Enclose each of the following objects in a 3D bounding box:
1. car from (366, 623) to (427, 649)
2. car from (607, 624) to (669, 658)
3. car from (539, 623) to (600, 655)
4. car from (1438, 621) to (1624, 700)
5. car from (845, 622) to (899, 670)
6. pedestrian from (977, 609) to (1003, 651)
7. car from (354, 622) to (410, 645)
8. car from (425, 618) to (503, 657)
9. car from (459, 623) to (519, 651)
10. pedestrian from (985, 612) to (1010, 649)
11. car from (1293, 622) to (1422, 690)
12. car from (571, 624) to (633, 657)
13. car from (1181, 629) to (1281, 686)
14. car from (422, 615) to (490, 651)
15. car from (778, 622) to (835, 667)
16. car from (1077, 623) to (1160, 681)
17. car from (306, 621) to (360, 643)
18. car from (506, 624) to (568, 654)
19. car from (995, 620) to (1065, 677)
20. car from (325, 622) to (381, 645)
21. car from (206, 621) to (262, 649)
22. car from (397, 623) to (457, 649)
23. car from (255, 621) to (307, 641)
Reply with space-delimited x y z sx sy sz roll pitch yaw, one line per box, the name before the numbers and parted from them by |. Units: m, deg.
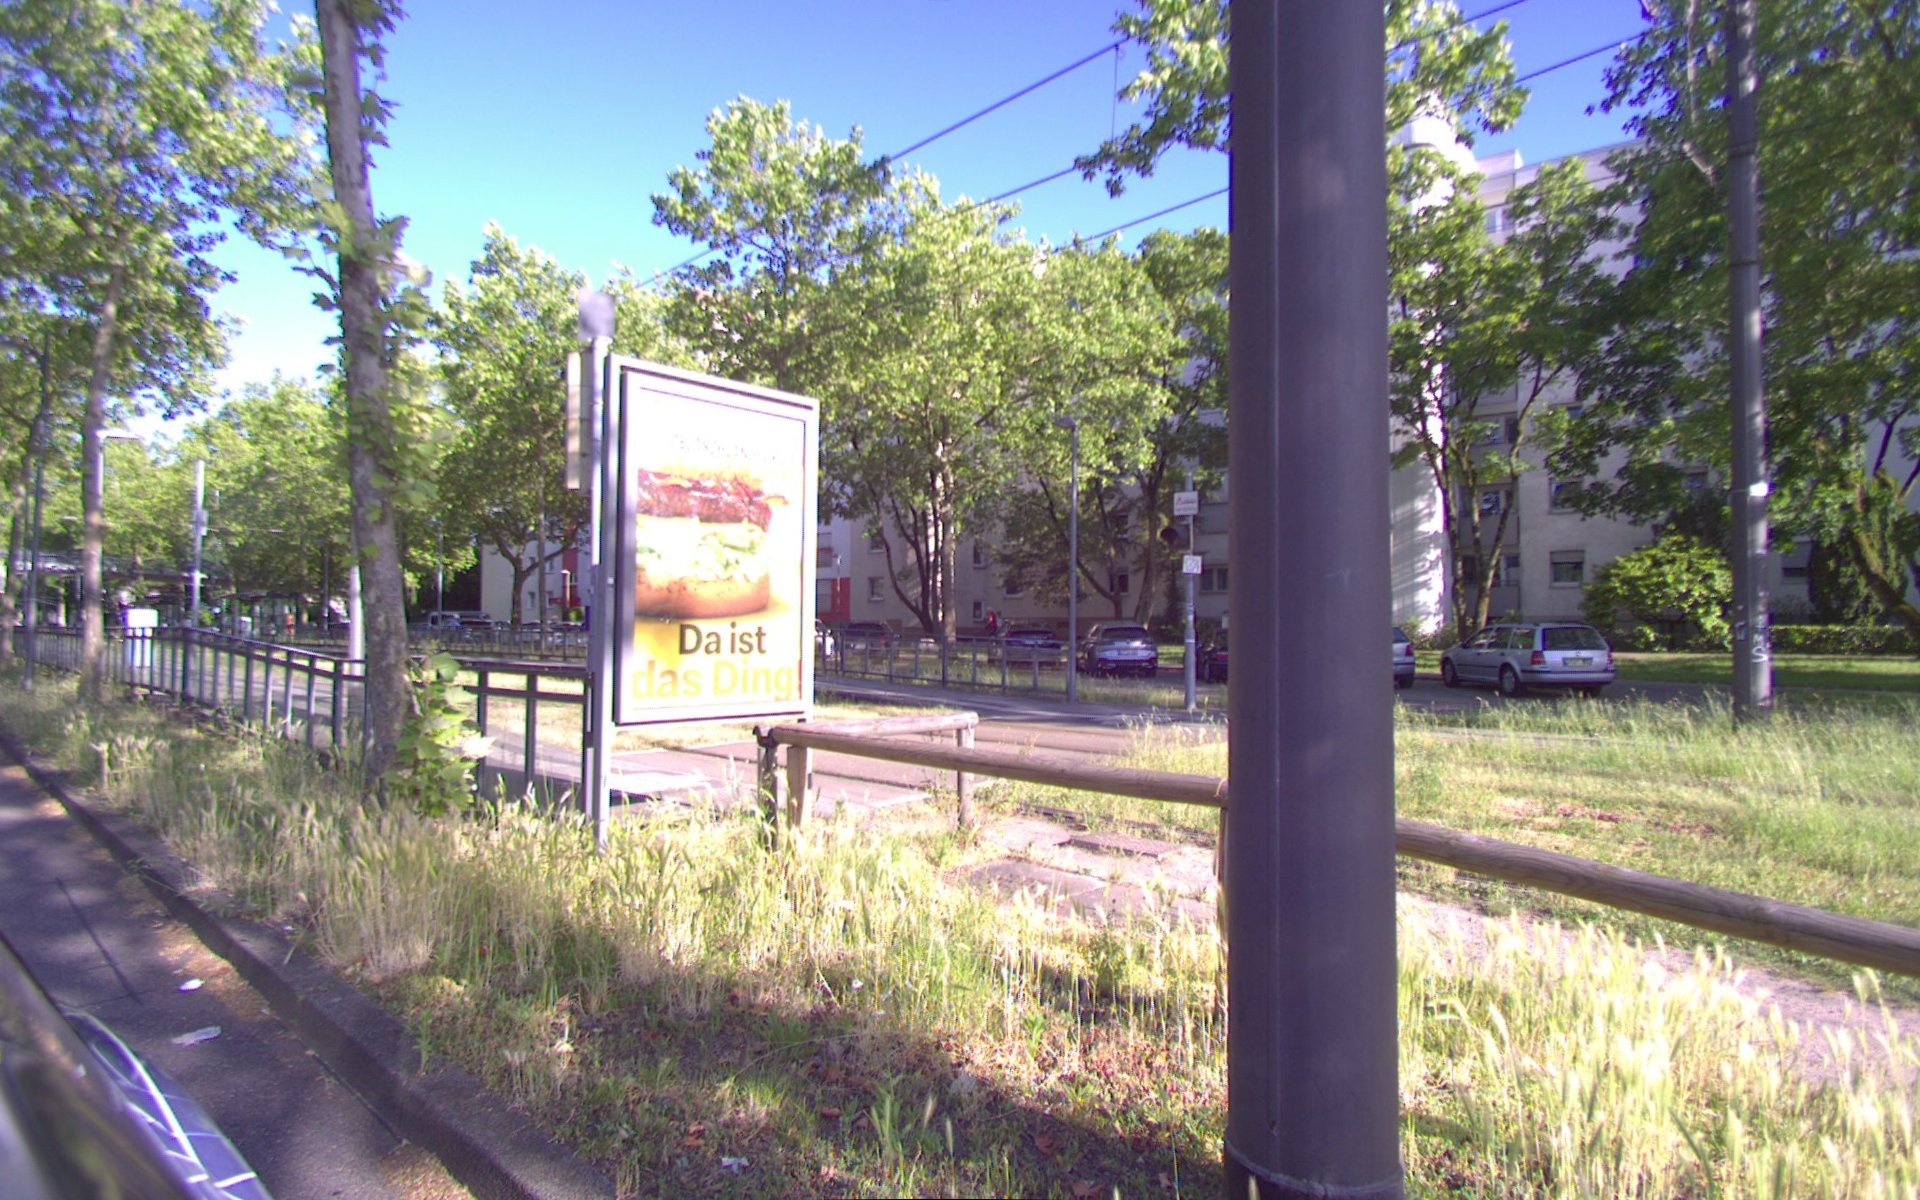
car | -33.688 2.117 60.606 1.633 1.452 3.805 -1 -1 -2
car | -14.056 1.768 44.341 1.633 1.366 3.805 -1 -1 -2
car | -19.039 1.900 49.544 1.633 1.452 3.805 -1 -1 -2
car | 11.481 1.164 20.670 1.559 1.413 3.906 -1 -1 0
car | -2.969 1.529 34.653 1.633 1.522 3.805 -1 -1 -2
pedestrian | 1.258 1.243 42.588 0.786 1.745 0.755 -1 0 39
car | -37.879 2.176 66.382 1.633 1.452 3.805 -1 -1 -2
car | -21.995 1.630 44.789 4.293 1.631 1.634 -2 -1 42
car | -25.865 2.003 55.664 1.633 1.452 3.805 -1 -1 -2
pedestrian | 1.671 1.355 45.058 0.786 1.635 0.755 -1 0 39
car | 9.150 1.241 23.595 1.559 1.413 3.638 -1 -1 0
car | -16.620 1.858 47.163 1.633 1.452 3.805 -1 -1 -2
car | 6.682 1.380 25.282 1.445 1.234 3.815 -1 -1 0
car | -28.446 1.828 57.258 1.814 1.888 4.323 -1 -1 -2
car | -5.559 1.572 37.022 1.633 1.522 3.805 -1 -1 -2
car | 4.224 1.367 27.524 1.633 1.413 3.803 -1 -1 0
car | -44.973 2.291 72.684 1.633 1.452 3.805 -1 -1 -2
car | -21.331 1.943 51.188 1.633 1.452 3.805 -1 -1 -2
car | 1.990 1.357 29.671 1.633 1.522 3.805 -1 -1 -2
car | -40.832 2.230 68.195 1.633 1.452 3.805 -1 -1 -2
car | -49.801 2.386 69.395 4.894 1.835 1.810 -1 -1 37
car | -31.325 2.086 59.603 1.633 1.452 3.805 -1 -1 -2
car | -53.045 2.405 79.156 1.633 1.452 3.805 -1 -1 -2
